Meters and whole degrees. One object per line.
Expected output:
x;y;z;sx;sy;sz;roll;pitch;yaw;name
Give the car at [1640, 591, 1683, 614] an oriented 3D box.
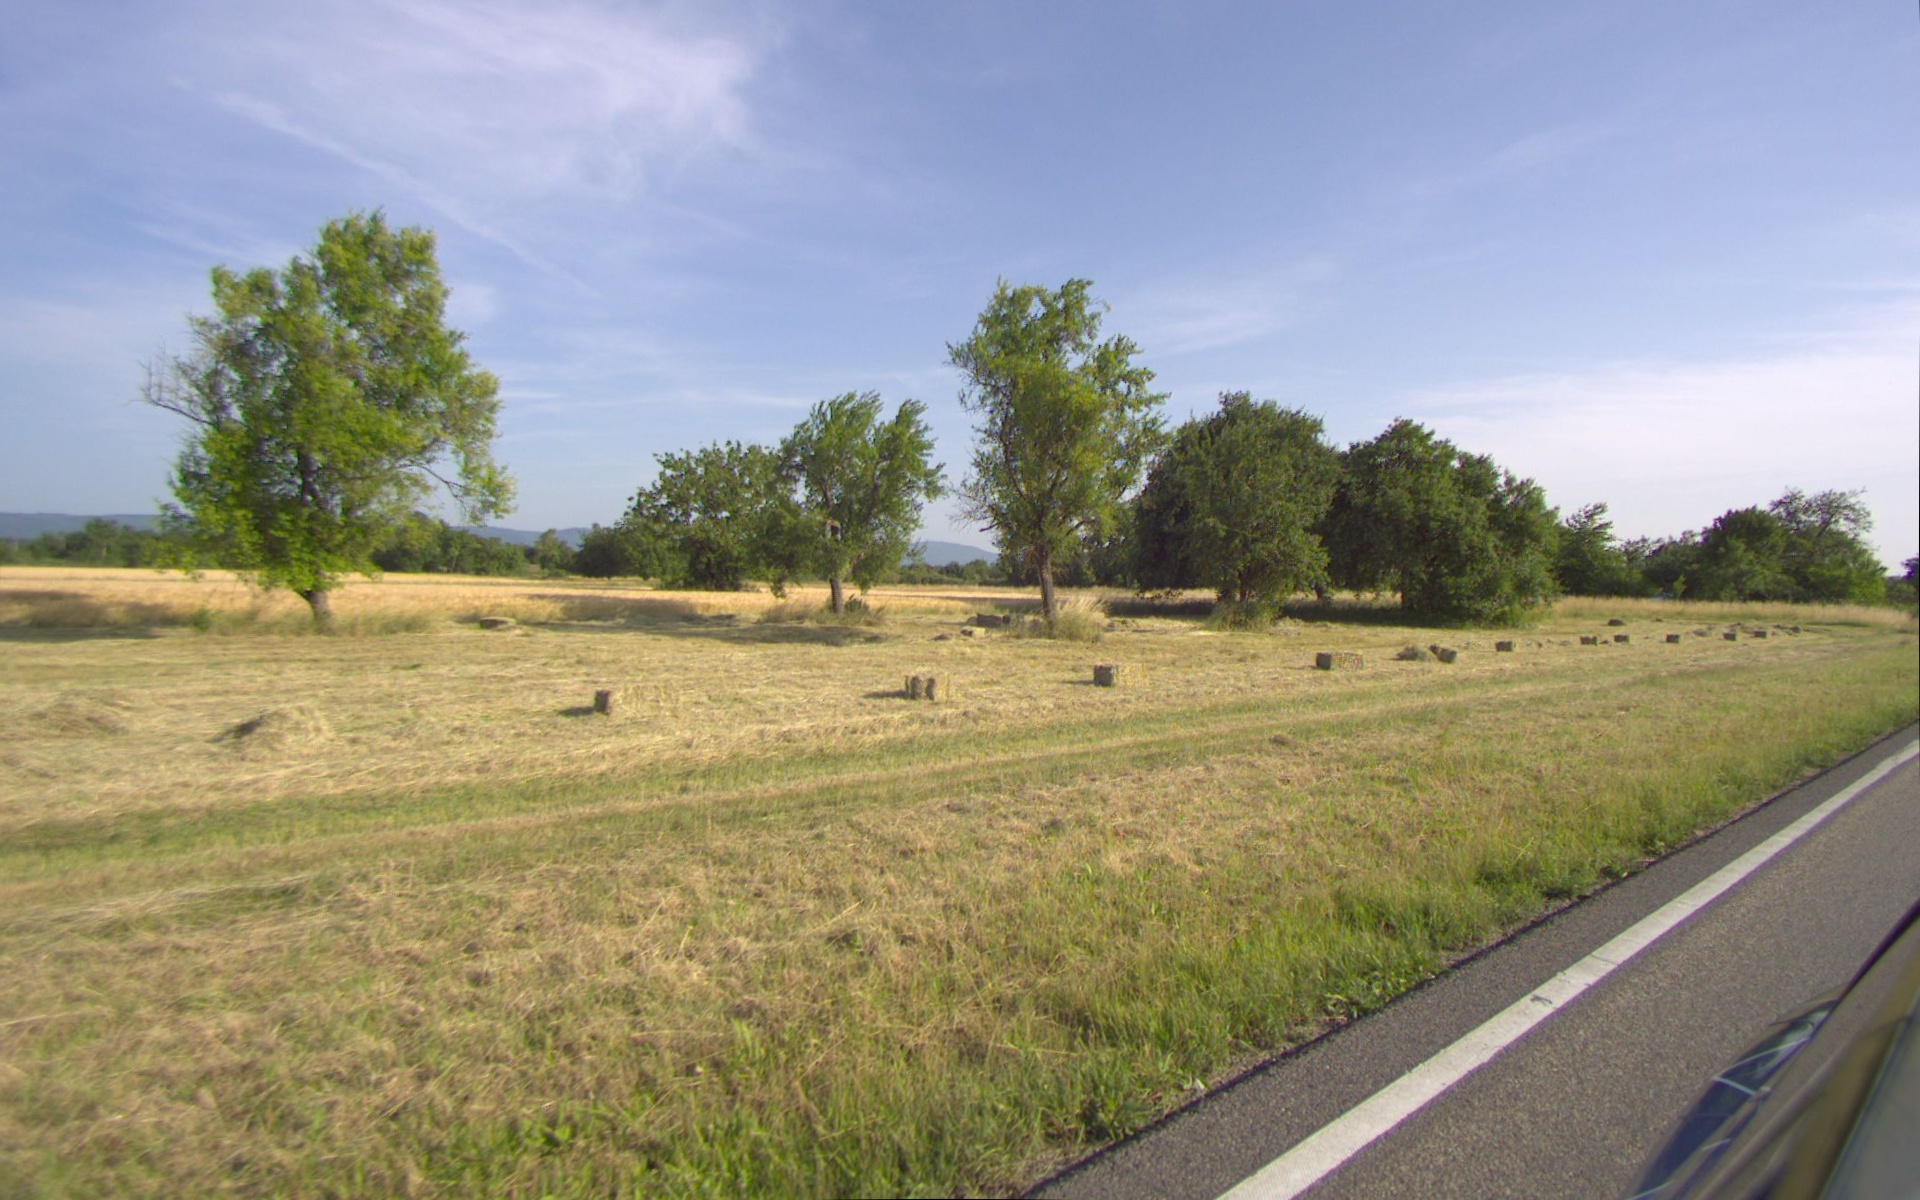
57.049;0.194;82.249;3.930;1.772;1.997;0;0;-41;car
